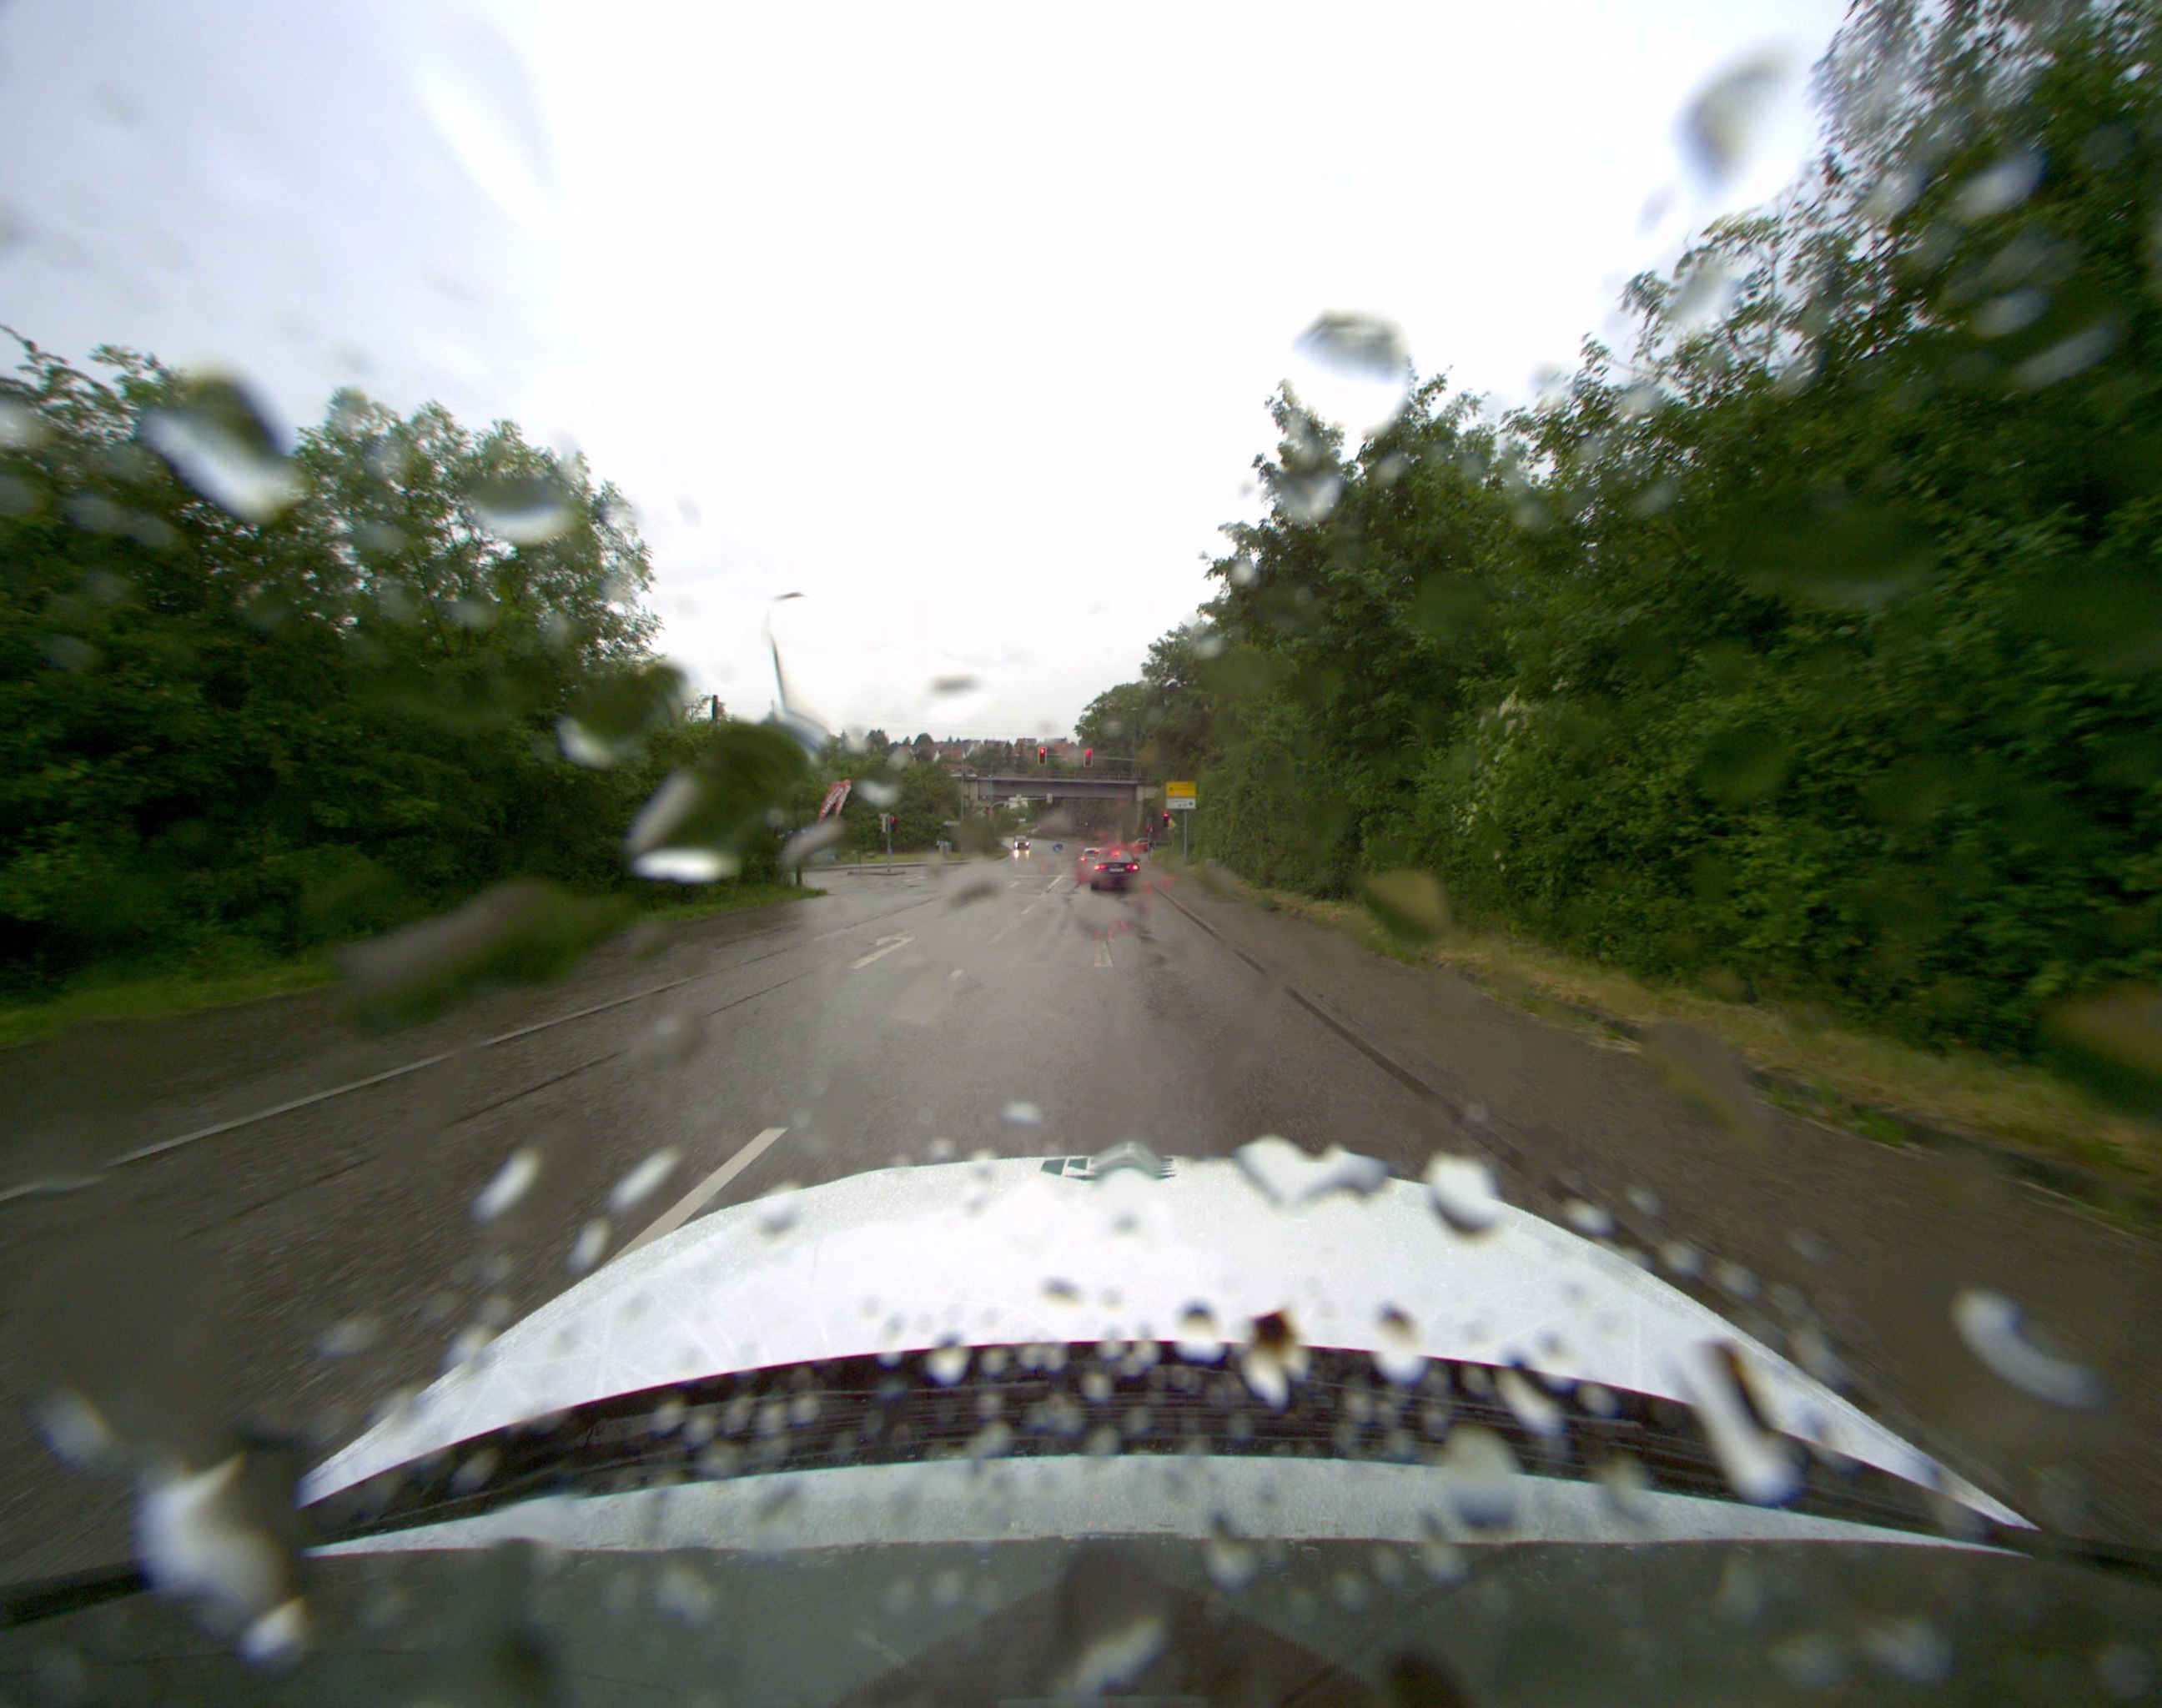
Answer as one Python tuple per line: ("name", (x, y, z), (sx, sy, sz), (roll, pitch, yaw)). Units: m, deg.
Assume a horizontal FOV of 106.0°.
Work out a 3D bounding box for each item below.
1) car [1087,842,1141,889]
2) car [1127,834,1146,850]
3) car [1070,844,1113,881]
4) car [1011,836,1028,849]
("car", (1.186, 0.372, 29.990), (1.863, 1.616, 4.001), (1, 1, 1))
("car", (6.149, -1.321, 90.450), (1.986, 1.585, 4.001), (-1, 0, 1))
("car", (0.511, 0.367, 36.754), (1.816, 1.585, 4.001), (-1, 0, 1))
("car", (-8.035, -1.452, 106.742), (1.992, 1.628, 3.990), (-2, 1, -7))
